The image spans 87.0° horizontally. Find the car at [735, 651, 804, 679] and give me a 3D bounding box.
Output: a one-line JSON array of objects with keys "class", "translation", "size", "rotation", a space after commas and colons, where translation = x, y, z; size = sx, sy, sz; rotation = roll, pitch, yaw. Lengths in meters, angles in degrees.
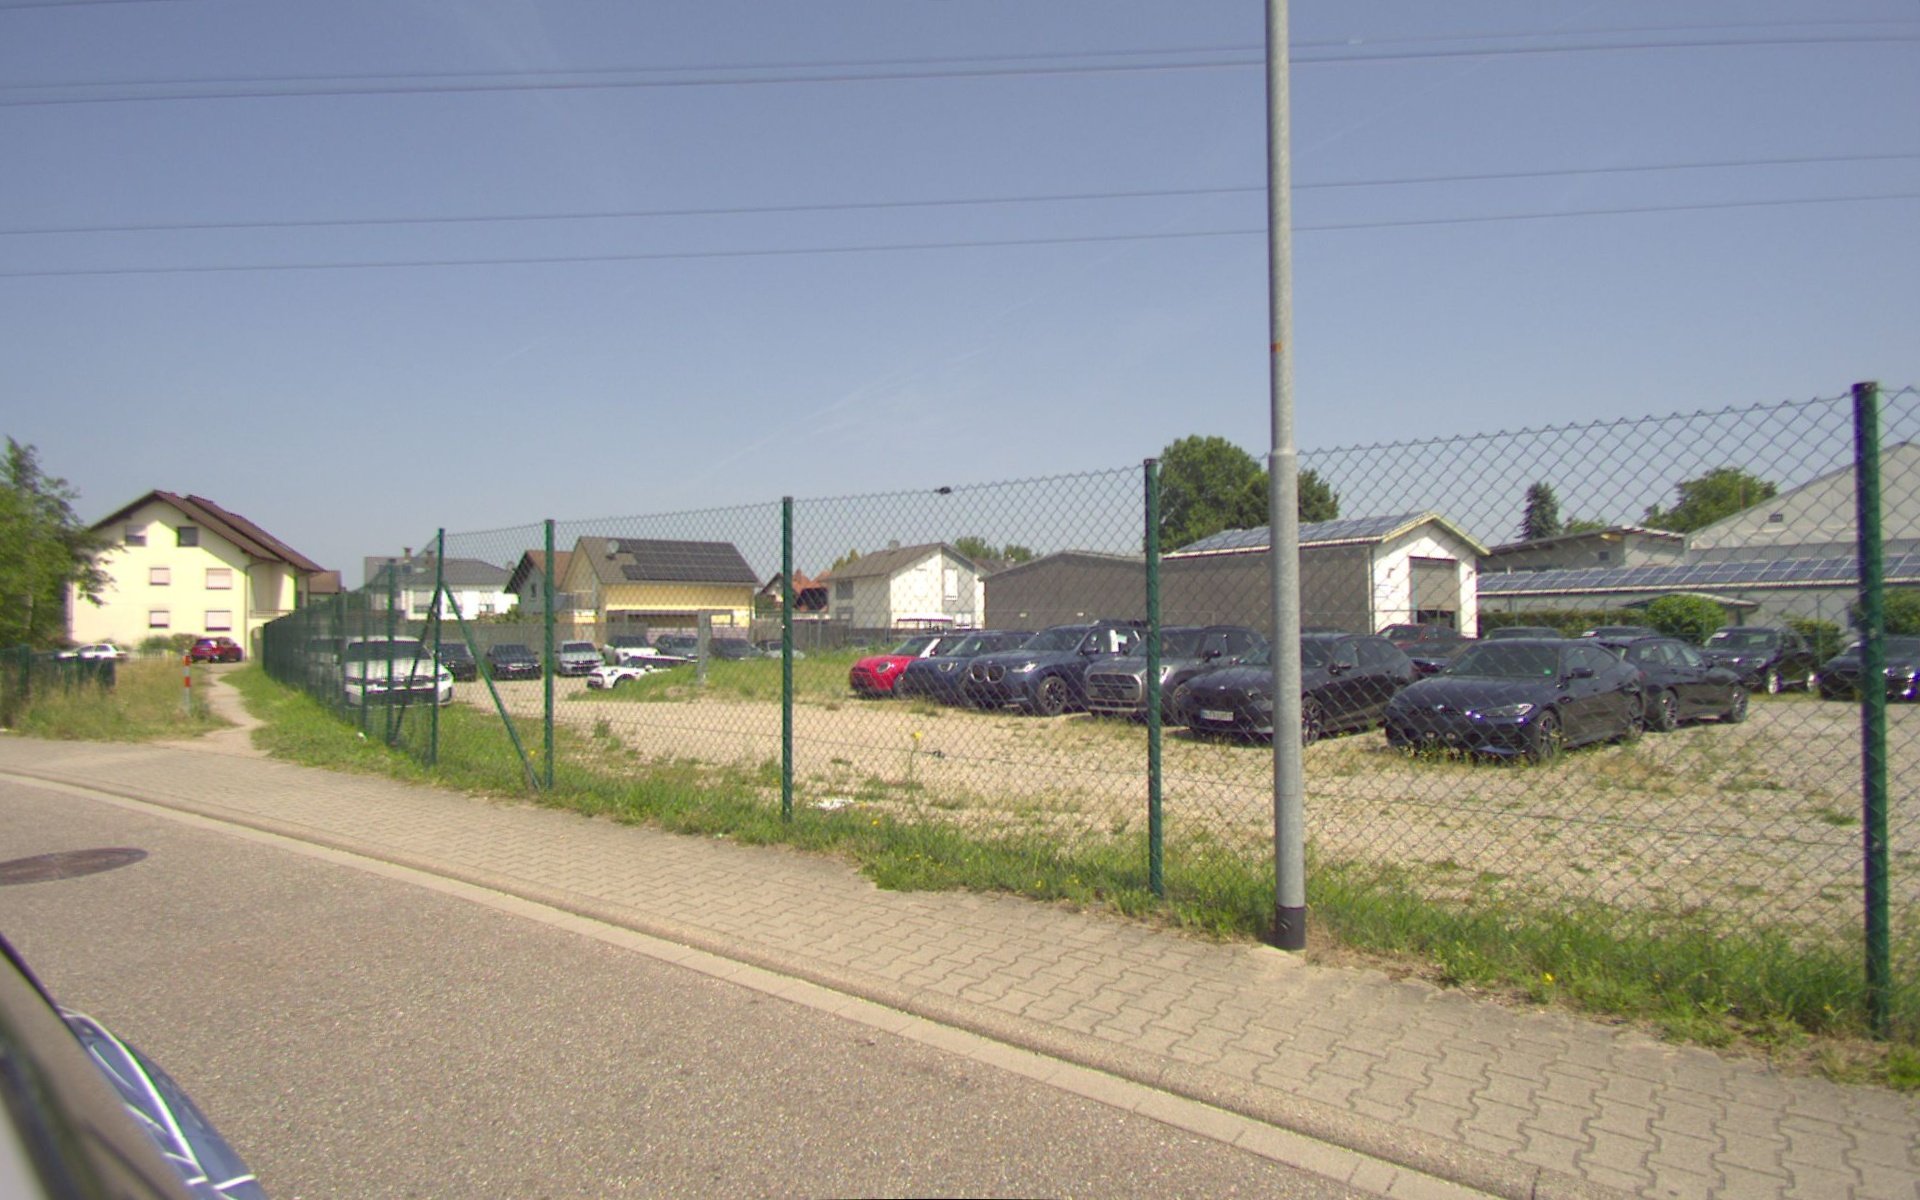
[{"class": "car", "translation": [-9.466, 3.200, 50.096], "size": [1.764, 1.245, 4.144], "rotation": [1, -2, -37]}]

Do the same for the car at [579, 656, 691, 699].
[{"class": "car", "translation": [-11.200, 2.656, 34.976], "size": [3.335, 1.325, 1.662], "rotation": [1, -2, -36]}]

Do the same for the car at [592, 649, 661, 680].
[{"class": "car", "translation": [-15.318, 2.922, 46.362], "size": [1.764, 1.245, 4.144], "rotation": [1, -2, -37]}]

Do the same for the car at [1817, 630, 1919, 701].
[{"class": "car", "translation": [21.016, 1.402, 22.538], "size": [4.590, 1.446, 2.006], "rotation": [1, -2, -38]}]

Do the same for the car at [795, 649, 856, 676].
[{"class": "car", "translation": [-7.091, 3.265, 53.294], "size": [1.764, 1.245, 3.618], "rotation": [1, -2, -34]}]

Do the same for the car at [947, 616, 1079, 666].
[{"class": "car", "translation": [1.524, 1.146, 28.669], "size": [3.386, 1.308, 1.872], "rotation": [1, -2, -40]}]

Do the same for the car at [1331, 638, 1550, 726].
[{"class": "car", "translation": [8.990, 1.440, 18.875], "size": [3.934, 1.431, 2.005], "rotation": [1, -2, -35]}]

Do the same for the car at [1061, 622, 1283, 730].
[{"class": "car", "translation": [3.674, 1.223, 17.358], "size": [3.575, 1.656, 1.872], "rotation": [1, -2, -38]}]

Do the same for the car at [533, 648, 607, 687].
[{"class": "car", "translation": [-17.224, 2.936, 44.586], "size": [2.009, 1.548, 4.144], "rotation": [1, -2, -37]}]

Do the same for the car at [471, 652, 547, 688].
[{"class": "car", "translation": [-19.129, 2.921, 42.848], "size": [2.009, 1.353, 4.427], "rotation": [1, -2, -37]}]

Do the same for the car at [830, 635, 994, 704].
[{"class": "car", "translation": [-1.100, 1.560, 23.612], "size": [3.385, 1.464, 1.872], "rotation": [1, -2, -38]}]

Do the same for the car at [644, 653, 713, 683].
[{"class": "car", "translation": [-13.248, 3.180, 47.488], "size": [1.764, 1.245, 4.144], "rotation": [1, -2, -37]}]

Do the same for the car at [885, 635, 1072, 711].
[{"class": "car", "translation": [0.432, 1.477, 21.406], "size": [3.590, 1.444, 1.872], "rotation": [1, -2, -38]}]

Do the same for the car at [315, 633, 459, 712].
[{"class": "car", "translation": [-11.032, 1.295, 19.325], "size": [1.838, 1.317, 4.572], "rotation": [1, -2, -37]}]

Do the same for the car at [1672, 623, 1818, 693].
[{"class": "car", "translation": [18.863, 1.339, 24.285], "size": [3.709, 1.566, 1.872], "rotation": [1, -2, -38]}]

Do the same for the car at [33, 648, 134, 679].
[{"class": "car", "translation": [-51.047, 3.675, 59.028], "size": [4.015, 1.697, 1.871], "rotation": [0, -2, -20]}]

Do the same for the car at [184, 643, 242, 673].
[{"class": "car", "translation": [-47.602, 3.671, 64.555], "size": [1.834, 1.741, 4.148], "rotation": [1, -2, -20]}]

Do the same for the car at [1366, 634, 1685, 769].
[{"class": "car", "translation": [7.510, 1.182, 13.263], "size": [4.590, 1.446, 2.006], "rotation": [1, -2, -38]}]

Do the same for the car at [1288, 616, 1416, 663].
[{"class": "car", "translation": [12.944, 1.273, 33.316], "size": [4.529, 1.444, 1.872], "rotation": [1, -2, -38]}]

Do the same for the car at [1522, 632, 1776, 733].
[{"class": "car", "translation": [11.544, 1.273, 16.892], "size": [4.347, 1.446, 2.007], "rotation": [1, -2, -34]}]

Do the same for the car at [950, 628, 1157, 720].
[{"class": "car", "translation": [1.818, 1.330, 19.266], "size": [3.637, 1.573, 1.872], "rotation": [1, -2, -38]}]

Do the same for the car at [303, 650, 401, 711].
[{"class": "car", "translation": [-17.833, 2.279, 29.588], "size": [2.009, 1.574, 4.448], "rotation": [1, -2, -37]}]

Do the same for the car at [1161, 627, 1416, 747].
[{"class": "car", "translation": [4.964, 1.200, 15.154], "size": [3.709, 1.566, 1.872], "rotation": [1, -2, -38]}]
